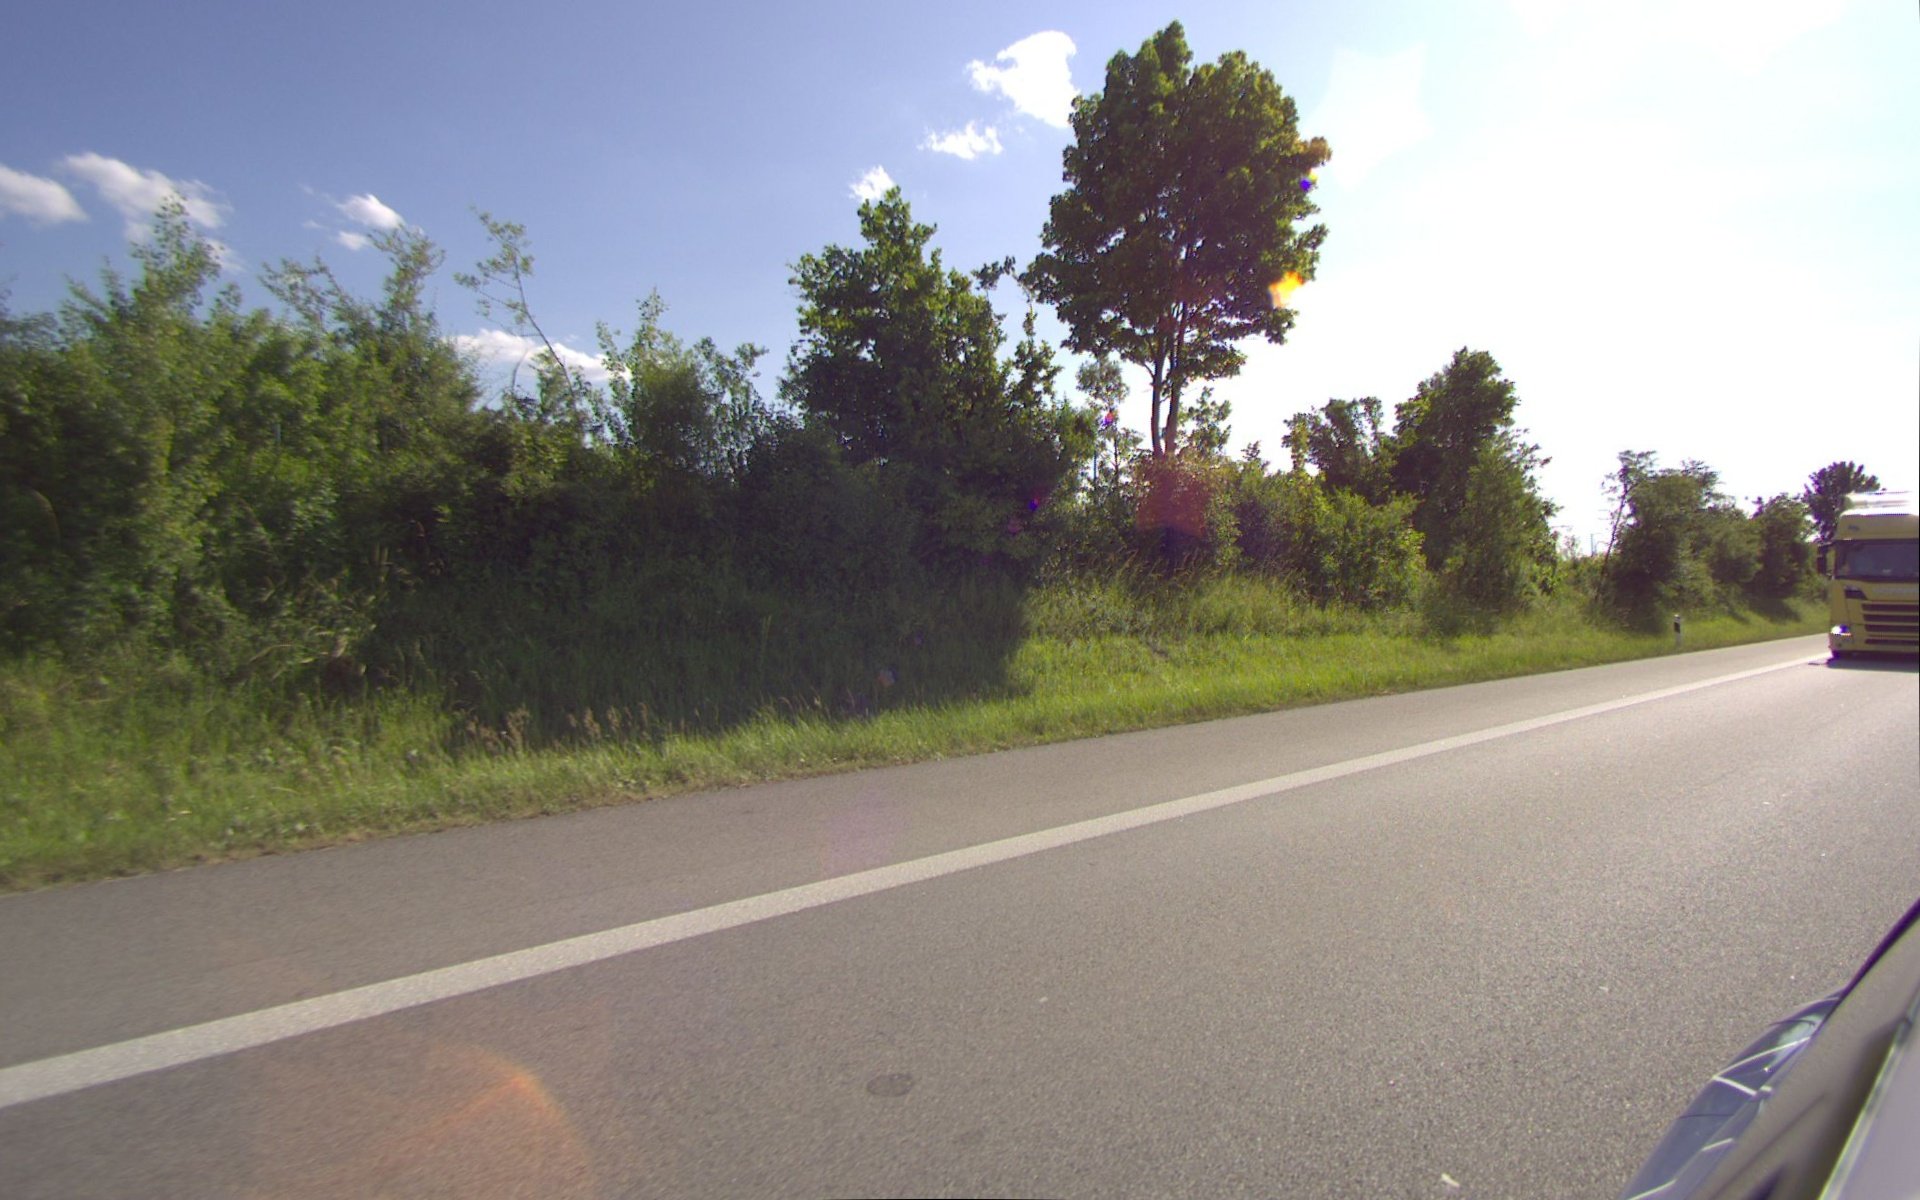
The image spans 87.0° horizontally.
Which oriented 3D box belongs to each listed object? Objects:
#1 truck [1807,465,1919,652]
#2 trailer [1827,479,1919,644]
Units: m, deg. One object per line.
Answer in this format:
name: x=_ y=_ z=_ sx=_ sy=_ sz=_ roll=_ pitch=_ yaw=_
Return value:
truck: x=23.413 y=-0.958 z=24.944 sx=6.282 sy=4.166 sz=3.171 roll=-1 pitch=0 yaw=-43
trailer: x=28.447 y=-1.019 z=29.580 sx=12.963 sy=4.110 sz=3.188 roll=-1 pitch=0 yaw=-43
